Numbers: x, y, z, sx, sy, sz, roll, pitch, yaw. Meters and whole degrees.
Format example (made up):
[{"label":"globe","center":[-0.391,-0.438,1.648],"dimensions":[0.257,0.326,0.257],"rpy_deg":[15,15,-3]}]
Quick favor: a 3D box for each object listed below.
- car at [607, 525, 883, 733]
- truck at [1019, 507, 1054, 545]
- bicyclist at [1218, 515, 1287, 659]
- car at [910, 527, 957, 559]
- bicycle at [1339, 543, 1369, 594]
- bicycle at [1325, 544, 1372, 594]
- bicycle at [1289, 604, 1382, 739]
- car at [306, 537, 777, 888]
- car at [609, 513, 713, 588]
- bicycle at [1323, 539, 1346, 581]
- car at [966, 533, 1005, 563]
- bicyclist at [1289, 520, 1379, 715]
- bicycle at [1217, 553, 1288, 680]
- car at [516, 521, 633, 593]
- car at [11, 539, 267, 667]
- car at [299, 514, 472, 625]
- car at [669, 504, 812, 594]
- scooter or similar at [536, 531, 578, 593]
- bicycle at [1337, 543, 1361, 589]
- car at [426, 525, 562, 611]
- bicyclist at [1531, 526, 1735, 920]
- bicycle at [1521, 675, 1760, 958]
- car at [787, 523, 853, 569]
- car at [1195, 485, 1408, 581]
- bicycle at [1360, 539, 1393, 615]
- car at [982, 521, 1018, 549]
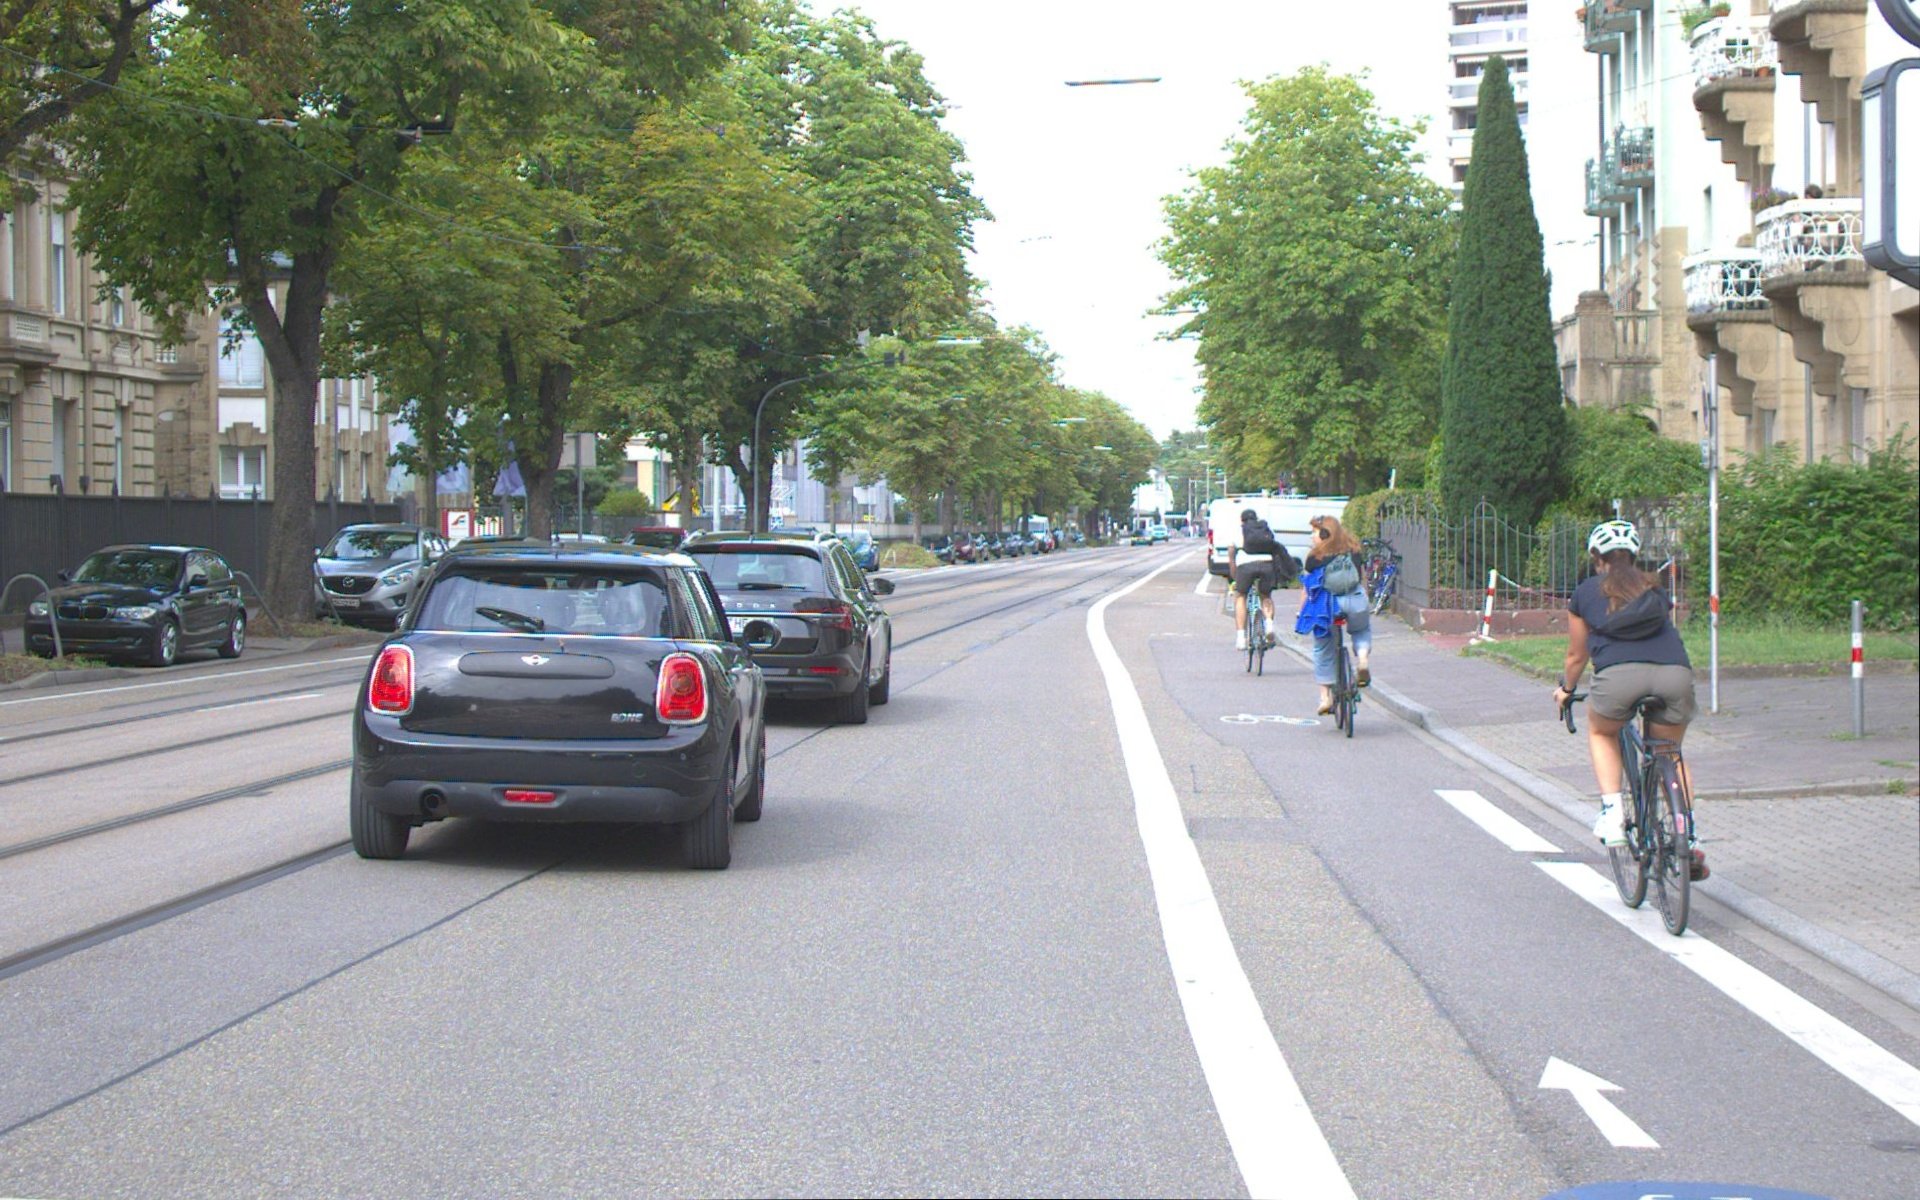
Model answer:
[{"label":"car","center":[-1.621,0.167,27.205],"dimensions":[1.793,1.465,4.000],"rpy_deg":[2,1,1]},{"label":"truck","center":[5.112,-4.937,229.488],"dimensions":[2.071,2.462,4.898],"rpy_deg":[-1,1,4]},{"label":"bicyclist","center":[3.035,-0.150,35.705],"dimensions":[0.657,1.458,1.178],"rpy_deg":[1,1,3]},{"label":"car","center":[-1.178,-2.594,156.172],"dimensions":[1.802,1.369,4.031],"rpy_deg":[-1,1,4]},{"label":"bicycle","center":[7.115,-0.571,62.028],"dimensions":[0.486,0.904,1.664],"rpy_deg":[-1,1,8]},{"label":"bicycle","center":[7.225,-0.573,63.939],"dimensions":[0.485,0.904,1.665],"rpy_deg":[-1,1,-7]},{"label":"bicycle","center":[2.950,0.547,27.110],"dimensions":[0.688,0.959,2.036],"rpy_deg":[-1,2,5]},{"label":"car","center":[-1.890,0.443,16.634],"dimensions":[1.793,1.418,4.000],"rpy_deg":[2,1,-1]},{"label":"car","center":[-7.021,-1.190,81.183],"dimensions":[1.721,1.649,4.542],"rpy_deg":[2,1,4]},{"label":"bicycle","center":[8.346,-0.889,76.574],"dimensions":[0.386,0.904,1.842],"rpy_deg":[-1,1,3]},{"label":"car","center":[1.387,-2.820,186.056],"dimensions":[1.802,1.578,4.031],"rpy_deg":[-1,1,4]},{"label":"bicyclist","center":[2.900,0.125,26.698],"dimensions":[0.647,1.465,0.800],"rpy_deg":[1,2,5]},{"label":"bicycle","center":[3.026,0.156,35.729],"dimensions":[0.657,1.244,2.125],"rpy_deg":[1,1,3]},{"label":"car","center":[-8.100,-0.926,72.512],"dimensions":[1.721,1.419,4.023],"rpy_deg":[2,1,4]},{"label":"car","center":[-10.075,-0.001,42.492],"dimensions":[1.720,1.419,4.165],"rpy_deg":[2,2,6]},{"label":"car","center":[-9.058,-0.522,54.500],"dimensions":[1.710,1.668,4.357],"rpy_deg":[1,1,4]},{"label":"car","center":[-3.671,-0.877,58.004],"dimensions":[1.571,1.411,3.999],"rpy_deg":[-2,1,8]},{"label":"scooter or similar","center":[-8.168,-0.774,69.649],"dimensions":[0.561,1.218,1.324],"rpy_deg":[0,1,-19]},{"label":"bicycle","center":[7.735,-0.681,68.340],"dimensions":[0.386,0.904,1.664],"rpy_deg":[-1,1,9]},{"label":"car","center":[-8.356,-0.603,61.914],"dimensions":[1.601,1.463,4.079],"rpy_deg":[1,1,4]},{"label":"bicyclist","center":[2.784,0.480,14.304],"dimensions":[0.638,1.565,1.110],"rpy_deg":[1,1,2]},{"label":"bicycle","center":[2.777,0.852,14.217],"dimensions":[0.638,0.977,2.071],"rpy_deg":[1,1,2]},{"label":"car","center":[-4.490,-1.740,110.843],"dimensions":[1.693,1.422,3.868],"rpy_deg":[1,1,4]},{"label":"car","center":[8.455,-1.642,84.943],"dimensions":[4.944,2.282,2.384],"rpy_deg":[0,1,-38]},{"label":"bicycle","center":[6.242,-0.359,51.539],"dimensions":[0.391,1.099,1.759],"rpy_deg":[-1,1,5]},{"label":"car","center":[2.312,-3.699,195.997],"dimensions":[1.802,1.578,4.031],"rpy_deg":[-1,1,4]}]
